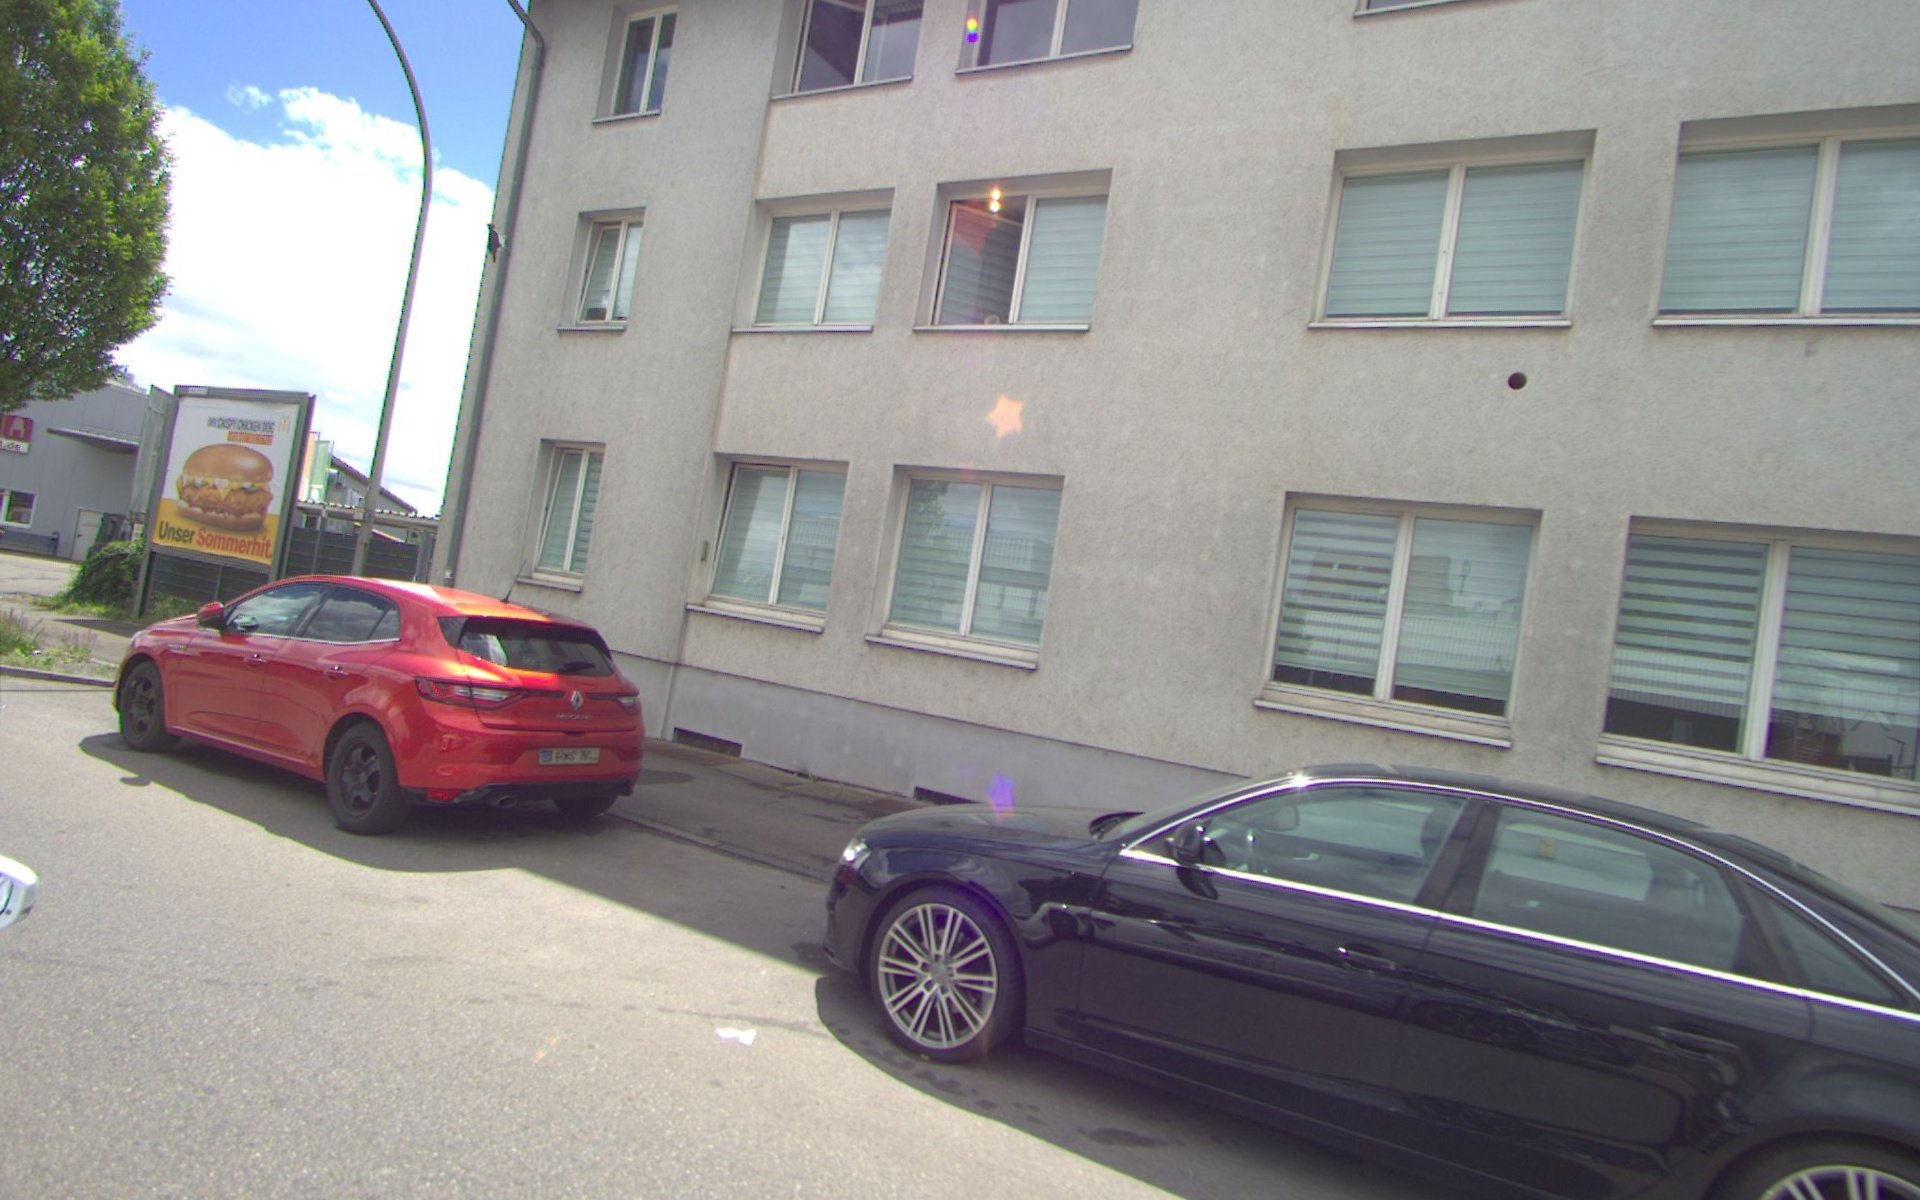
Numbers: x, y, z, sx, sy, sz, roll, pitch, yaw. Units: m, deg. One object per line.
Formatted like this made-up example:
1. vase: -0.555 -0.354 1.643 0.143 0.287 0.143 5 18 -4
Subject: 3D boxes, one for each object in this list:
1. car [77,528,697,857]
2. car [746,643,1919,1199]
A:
1. car: -4.145 0.535 7.163 4.188 1.488 1.741 7 -4 29
2. car: 1.695 1.261 3.905 4.775 1.438 1.742 7 -4 27
